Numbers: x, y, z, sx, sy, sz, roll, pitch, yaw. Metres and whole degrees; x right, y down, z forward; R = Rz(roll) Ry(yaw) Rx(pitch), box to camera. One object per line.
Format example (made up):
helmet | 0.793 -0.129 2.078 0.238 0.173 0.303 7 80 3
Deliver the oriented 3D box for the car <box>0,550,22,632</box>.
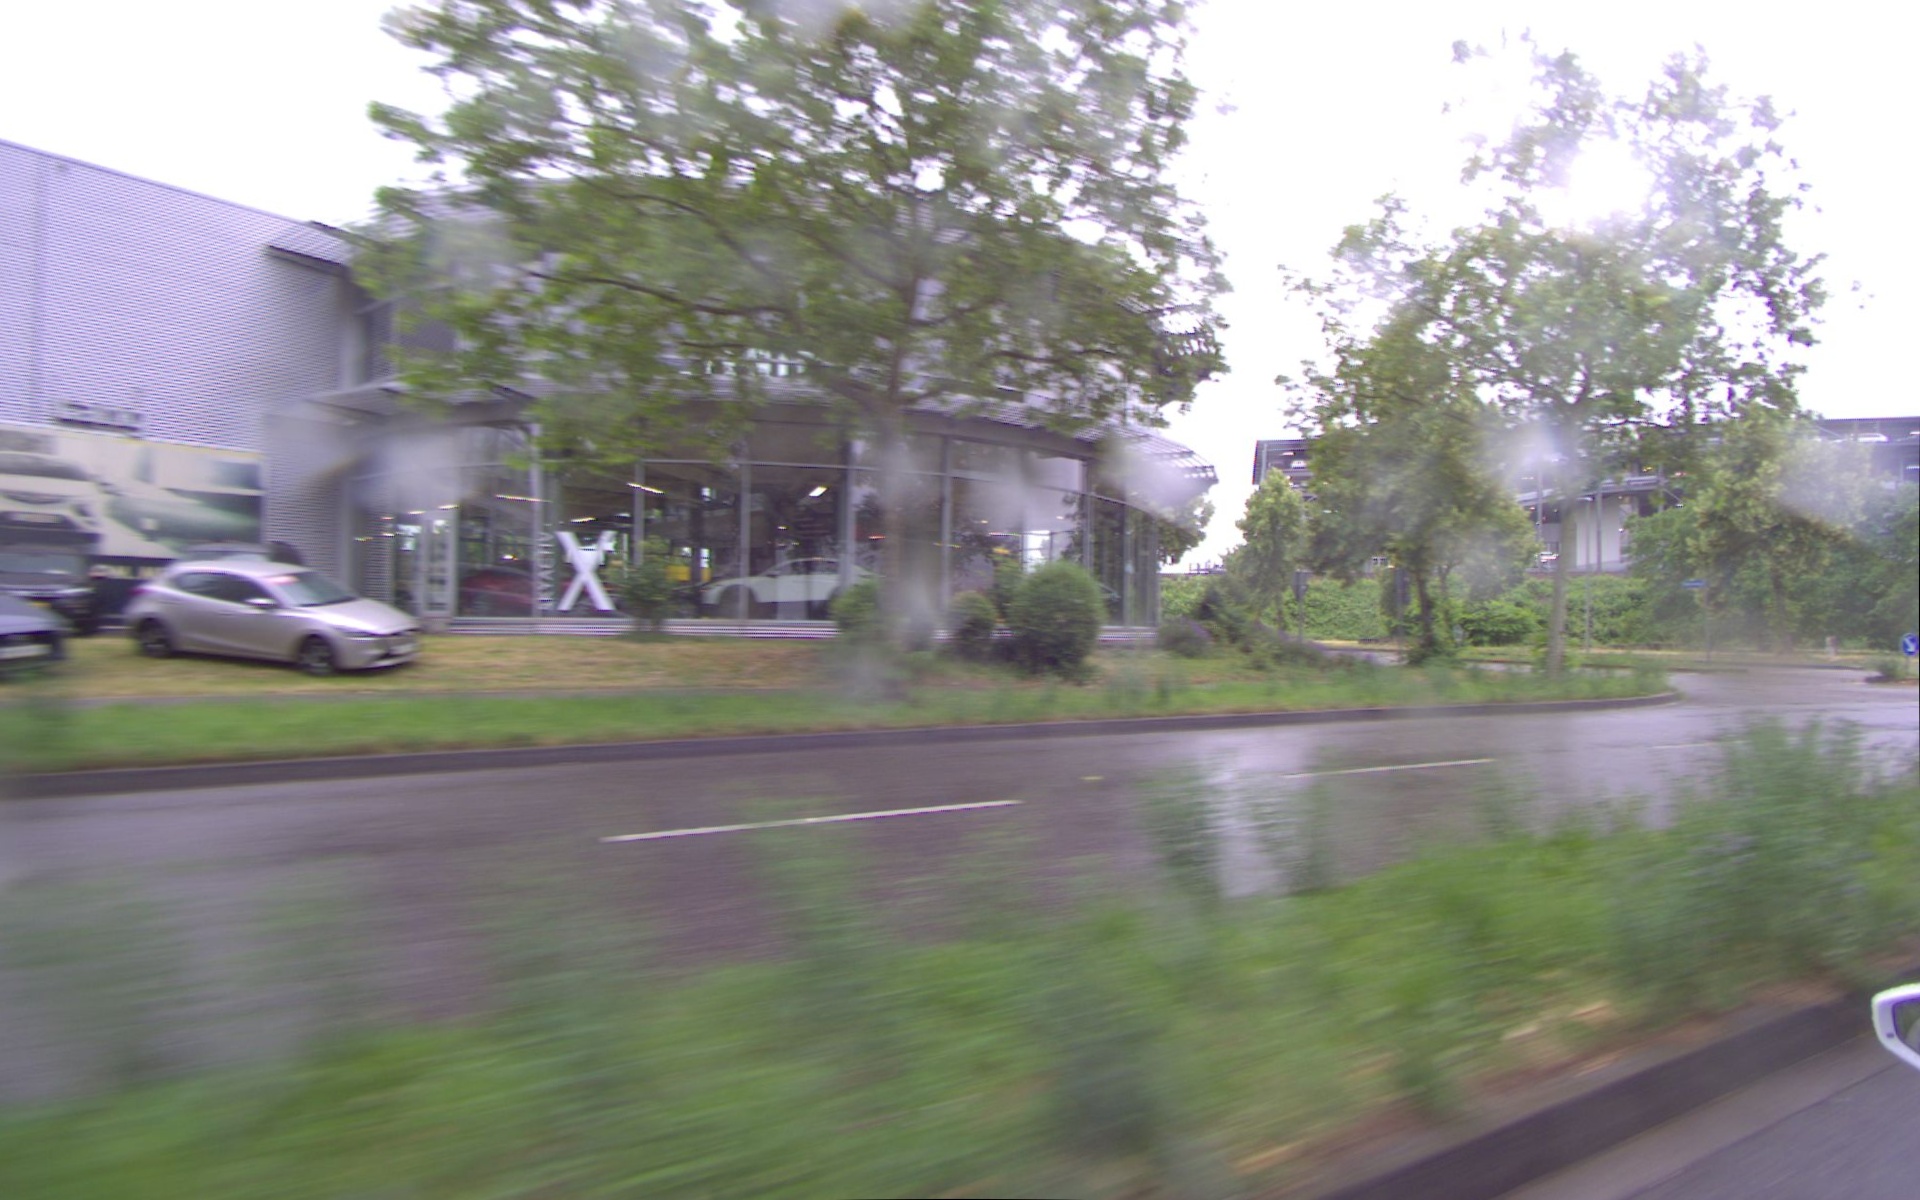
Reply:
car | -18.033 -0.198 16.556 1.888 1.493 4.421 1 -1 -16

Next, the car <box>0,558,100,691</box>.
car | -13.771 0.170 13.098 4.047 1.442 1.848 6 6 13

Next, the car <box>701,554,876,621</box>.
car | -4.110 -0.284 24.628 4.034 1.495 1.783 1 -1 -5

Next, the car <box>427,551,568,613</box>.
car | -12.072 -0.433 26.251 3.075 1.495 1.597 2 -1 -37

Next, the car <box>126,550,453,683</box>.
car | -10.256 0.195 15.527 3.921 1.496 1.785 6 6 4

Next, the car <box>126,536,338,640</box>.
car | -13.995 -0.188 19.659 1.888 1.761 4.421 1 -1 -16

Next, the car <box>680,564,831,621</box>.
car | -5.815 -0.187 28.910 4.034 1.495 1.783 1 -1 -5

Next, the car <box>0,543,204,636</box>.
car | -15.982 -0.165 18.387 1.888 1.493 4.421 1 -1 -16
